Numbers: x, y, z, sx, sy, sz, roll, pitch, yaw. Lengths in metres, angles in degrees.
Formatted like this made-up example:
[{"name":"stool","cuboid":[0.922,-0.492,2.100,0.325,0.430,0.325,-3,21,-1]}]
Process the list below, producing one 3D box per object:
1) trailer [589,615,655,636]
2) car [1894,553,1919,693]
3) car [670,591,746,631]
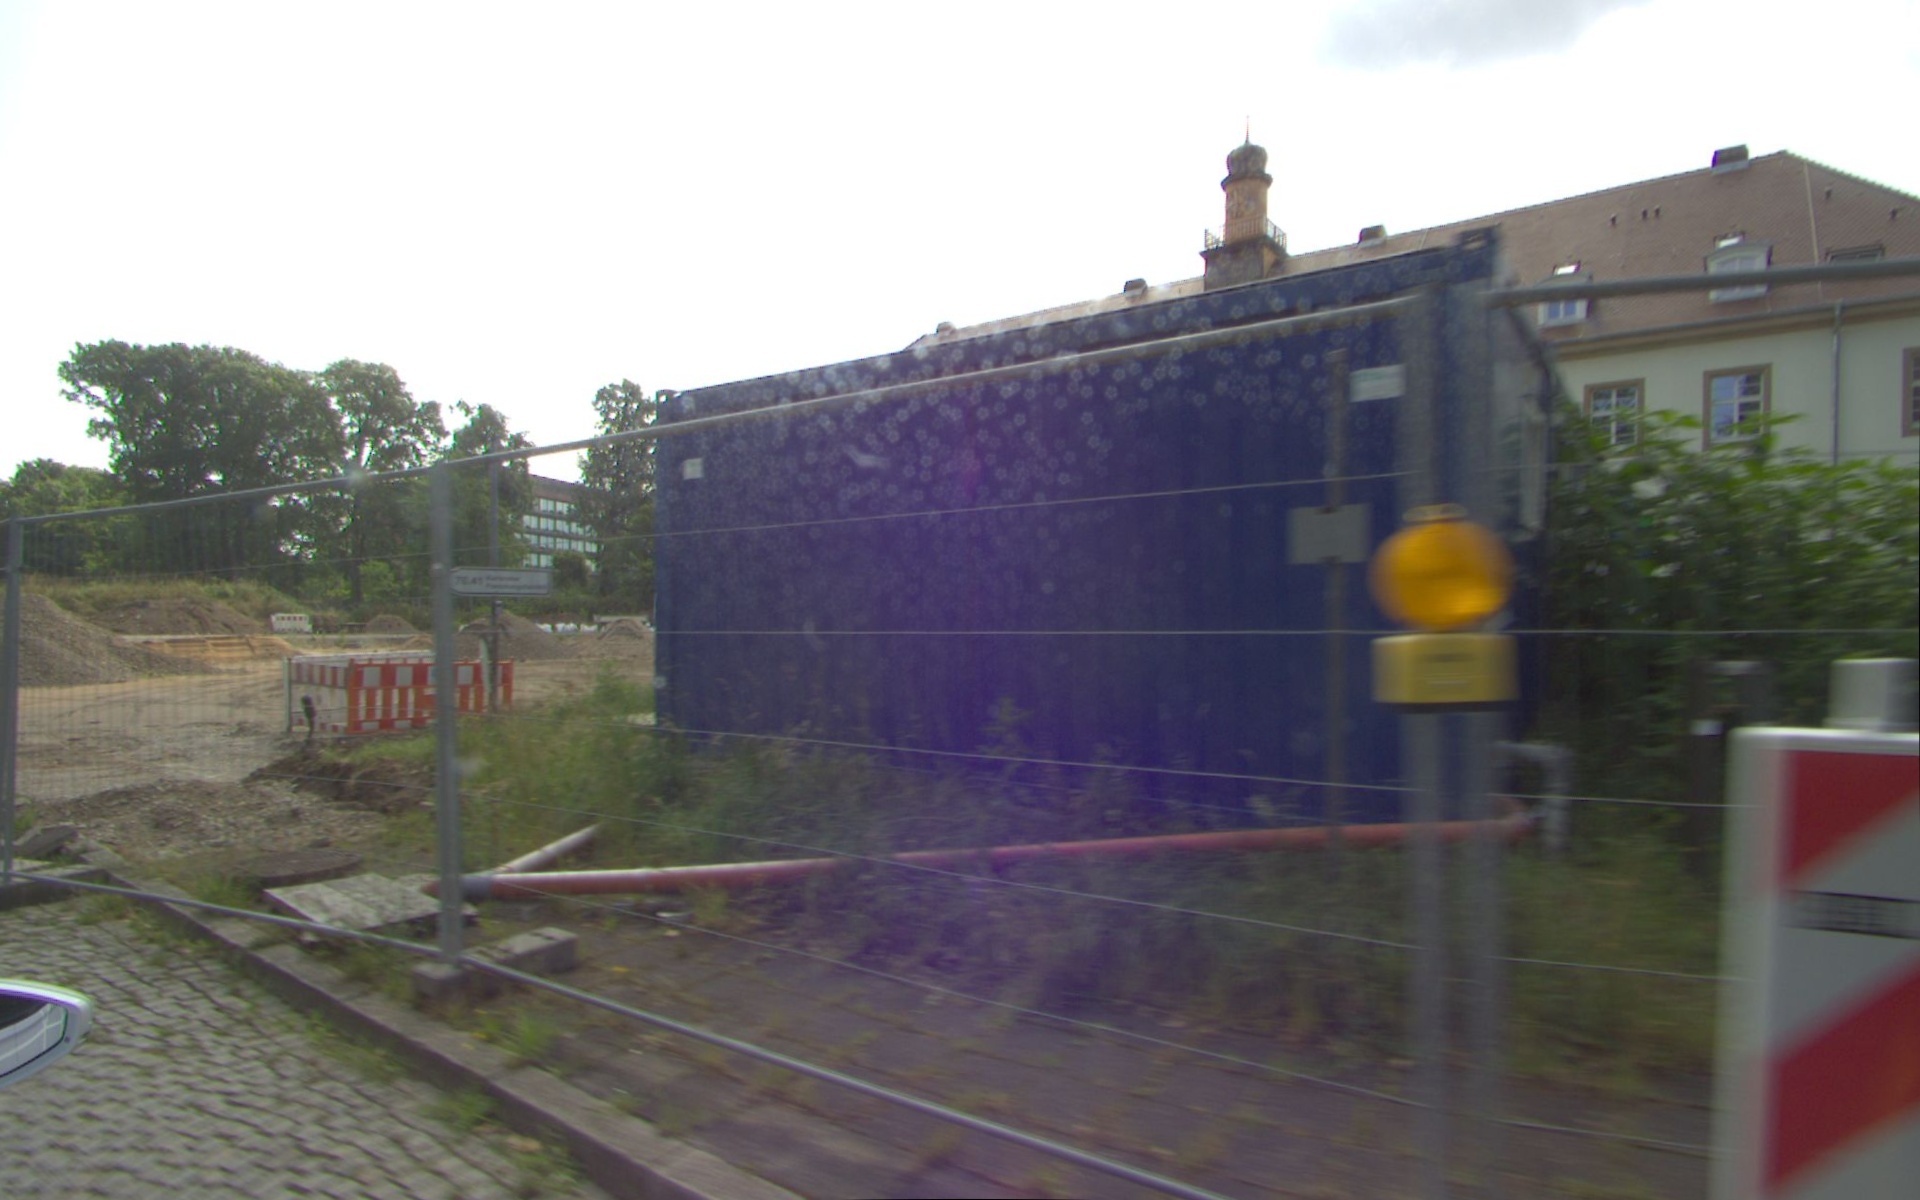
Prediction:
[{"name":"trailer","cuboid":[-22.820,1.743,67.649,3.942,1.371,2.078,2,-1,-29]},{"name":"car","cuboid":[20.558,0.466,17.638,5.837,2.588,1.986,0,-2,39]},{"name":"car","cuboid":[-17.867,0.797,71.114,4.767,2.676,2.038,2,-1,-41]}]
